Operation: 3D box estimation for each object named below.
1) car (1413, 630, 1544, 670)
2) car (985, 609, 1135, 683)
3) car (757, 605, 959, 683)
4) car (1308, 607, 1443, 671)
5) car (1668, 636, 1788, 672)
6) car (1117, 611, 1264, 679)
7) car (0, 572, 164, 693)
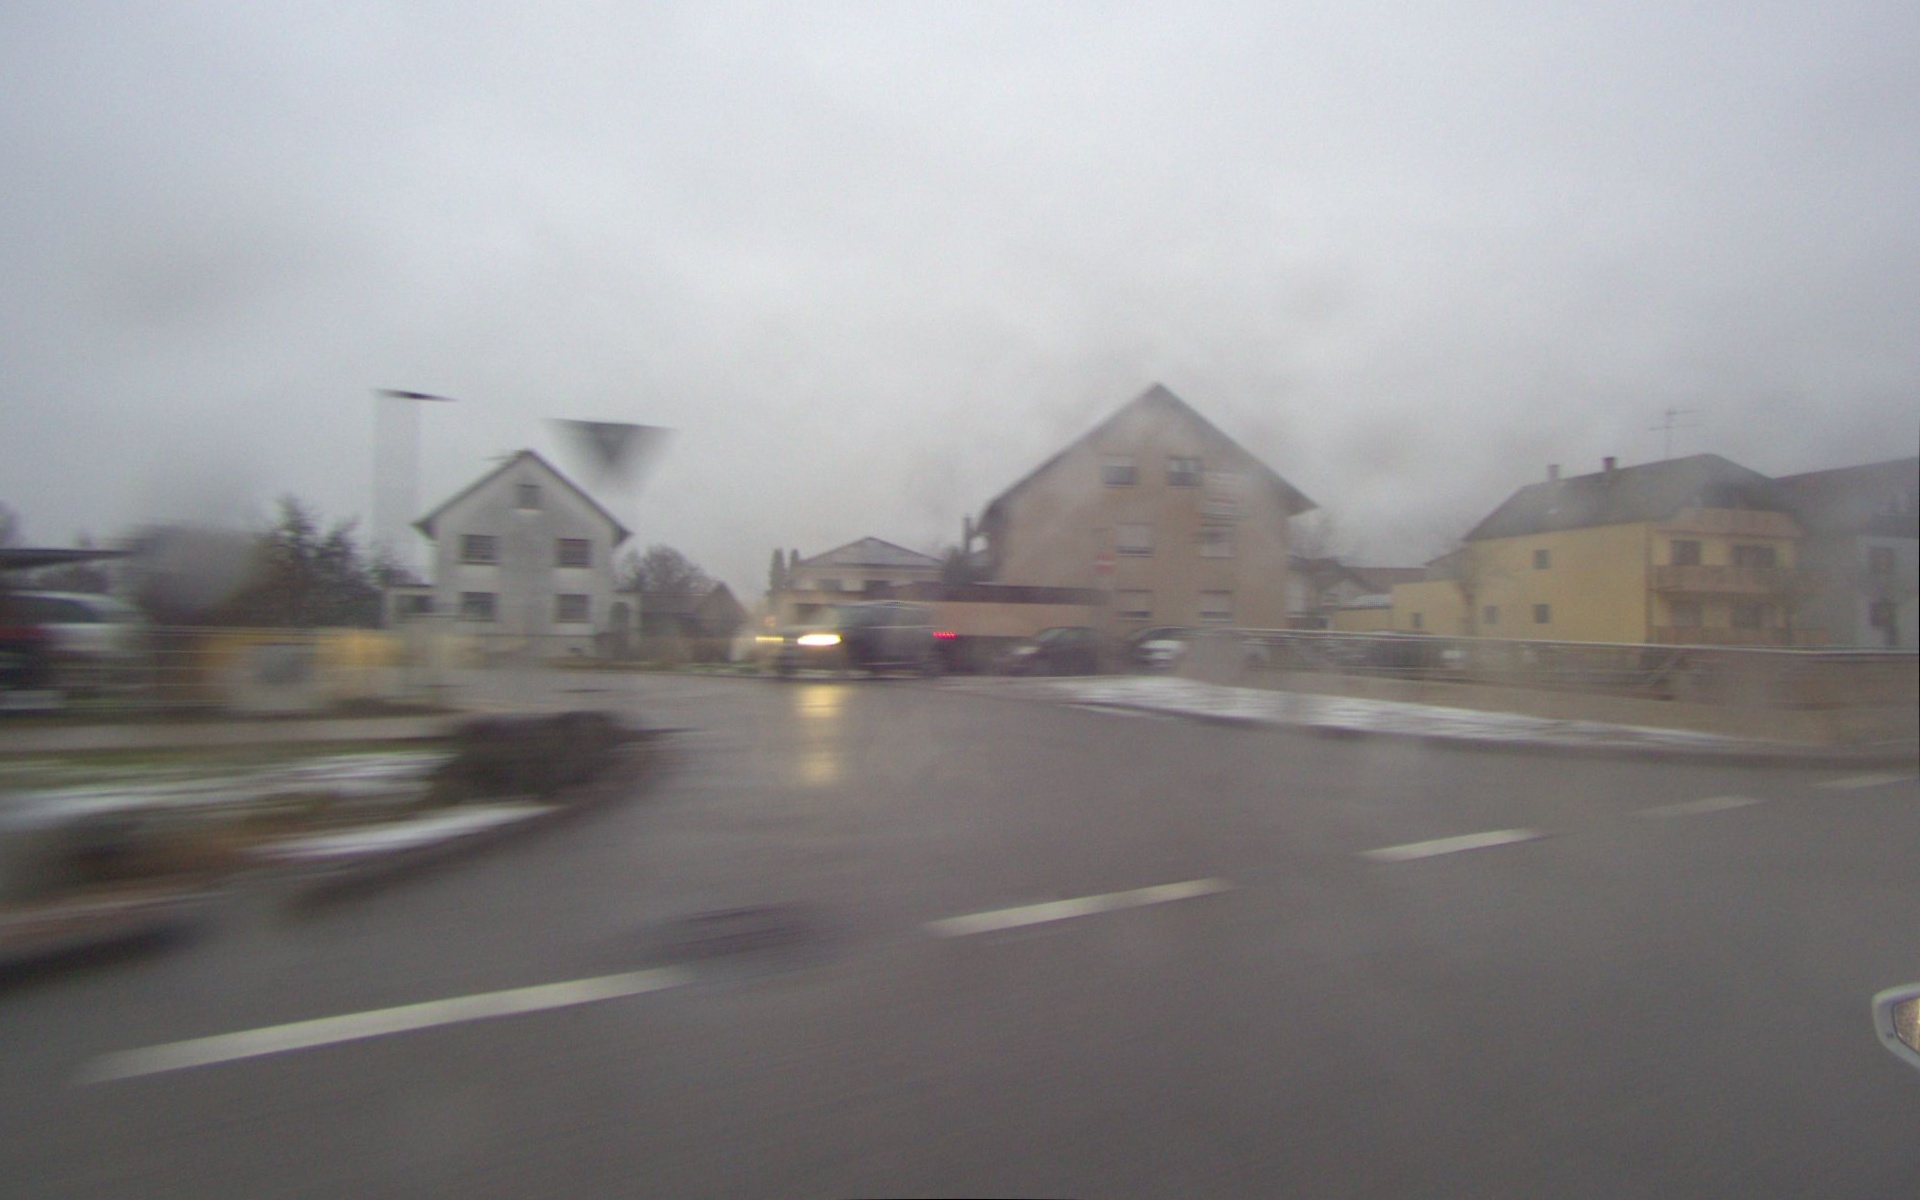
[{"bbox_3d":[18.892,1.807,36.633,4.049,1.325,1.991,1,0,-19],"label":"car"},{"bbox_3d":[2.941,1.318,29.643,3.942,2.040,1.914,1,0,-22],"label":"car"},{"bbox_3d":[-2.012,0.864,20.914,1.374,1.457,4.310,1,0,44],"label":"car"},{"bbox_3d":[14.216,1.329,34.421,3.938,2.040,1.991,1,0,-19],"label":"car"},{"bbox_3d":[31.323,2.183,40.973,4.049,1.325,1.991,1,0,-19],"label":"car"},{"bbox_3d":[7.315,1.402,31.855,4.161,2.040,1.990,1,0,-22],"label":"car"},{"bbox_3d":[-14.102,0.436,14.468,3.959,1.673,1.981,1,0,-34],"label":"car"}]
